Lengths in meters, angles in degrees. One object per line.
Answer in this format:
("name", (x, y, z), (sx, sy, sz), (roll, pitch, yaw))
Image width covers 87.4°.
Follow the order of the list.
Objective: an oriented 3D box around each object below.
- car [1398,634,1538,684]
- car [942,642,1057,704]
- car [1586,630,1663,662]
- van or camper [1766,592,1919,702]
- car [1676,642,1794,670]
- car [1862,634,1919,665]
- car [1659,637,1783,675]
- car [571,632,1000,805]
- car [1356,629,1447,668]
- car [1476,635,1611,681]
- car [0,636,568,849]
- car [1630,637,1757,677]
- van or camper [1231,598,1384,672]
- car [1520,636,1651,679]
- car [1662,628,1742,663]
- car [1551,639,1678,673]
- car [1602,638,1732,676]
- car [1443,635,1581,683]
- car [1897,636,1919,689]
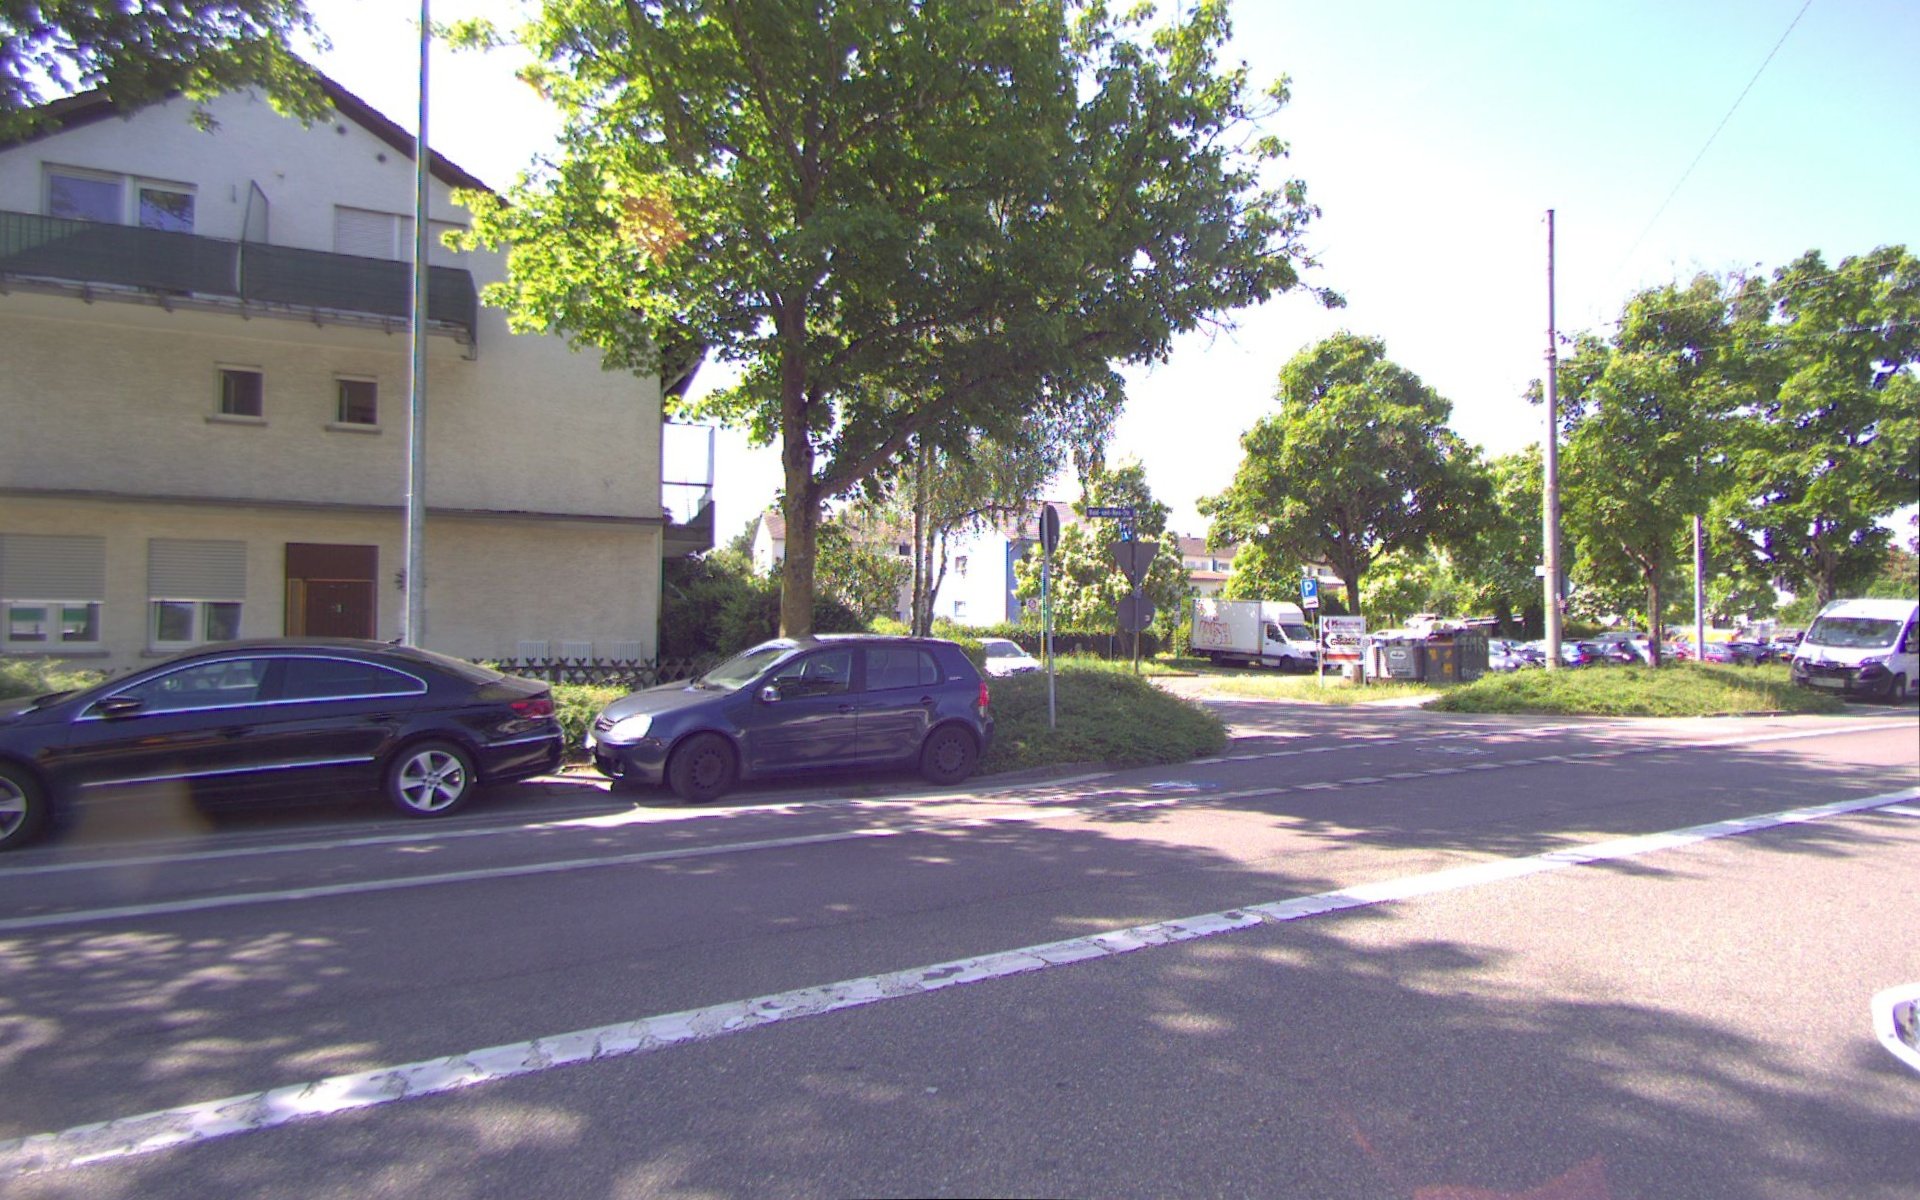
("car", (16.986, 1.944, 33.767), (1.645, 1.564, 3.967), (2, -3, -31))
("car", (1.017, 1.979, 28.233), (1.781, 1.545, 3.981), (0, -2, -21))
("car", (44.841, 3.064, 67.861), (1.890, 2.029, 3.964), (1, -1, -33))
("van or camper", (23.379, 1.182, 25.617), (6.072, 2.547, 2.248), (1, -2, -29))
("car", (34.571, 2.482, 44.889), (1.644, 1.169, 3.871), (2, -3, -30))
("car", (53.298, 2.776, 56.146), (1.645, 1.716, 3.967), (2, -3, -31))
("car", (32.814, 2.392, 43.427), (1.644, 1.564, 3.969), (2, -3, -30))
("car", (-1.716, 1.068, 10.253), (4.033, 1.470, 1.609), (1, -2, -29))
("car", (22.483, 2.455, 51.279), (1.766, 1.915, 3.964), (1, -2, -33))
("car", (21.137, 2.085, 36.554), (1.645, 1.564, 3.967), (2, -3, -31))
("car", (-5.678, 1.006, 8.082), (4.525, 1.413, 1.690), (1, -2, -29))
("car", (30.528, 2.323, 41.909), (1.644, 1.564, 3.969), (1, -2, -30))
("van or camper", (16.442, 1.646, 48.066), (2.553, 3.287, 6.914), (1, -2, -31))
("car", (23.857, 2.176, 38.455), (1.644, 1.564, 3.969), (2, -3, -30))
("car", (50.258, 3.042, 68.094), (1.890, 2.229, 3.964), (1, -2, -33))
("car", (25.799, 2.182, 39.709), (1.644, 1.287, 3.898), (2, -3, -30))
("car", (28.464, 2.249, 40.560), (1.712, 1.428, 3.969), (1, -2, -30))
("car", (19.171, 2.006, 35.050), (1.645, 1.564, 3.967), (2, -3, -31))
("car", (28.883, 1.755, 28.602), (4.829, 1.474, 1.923), (1, -2, -31))
